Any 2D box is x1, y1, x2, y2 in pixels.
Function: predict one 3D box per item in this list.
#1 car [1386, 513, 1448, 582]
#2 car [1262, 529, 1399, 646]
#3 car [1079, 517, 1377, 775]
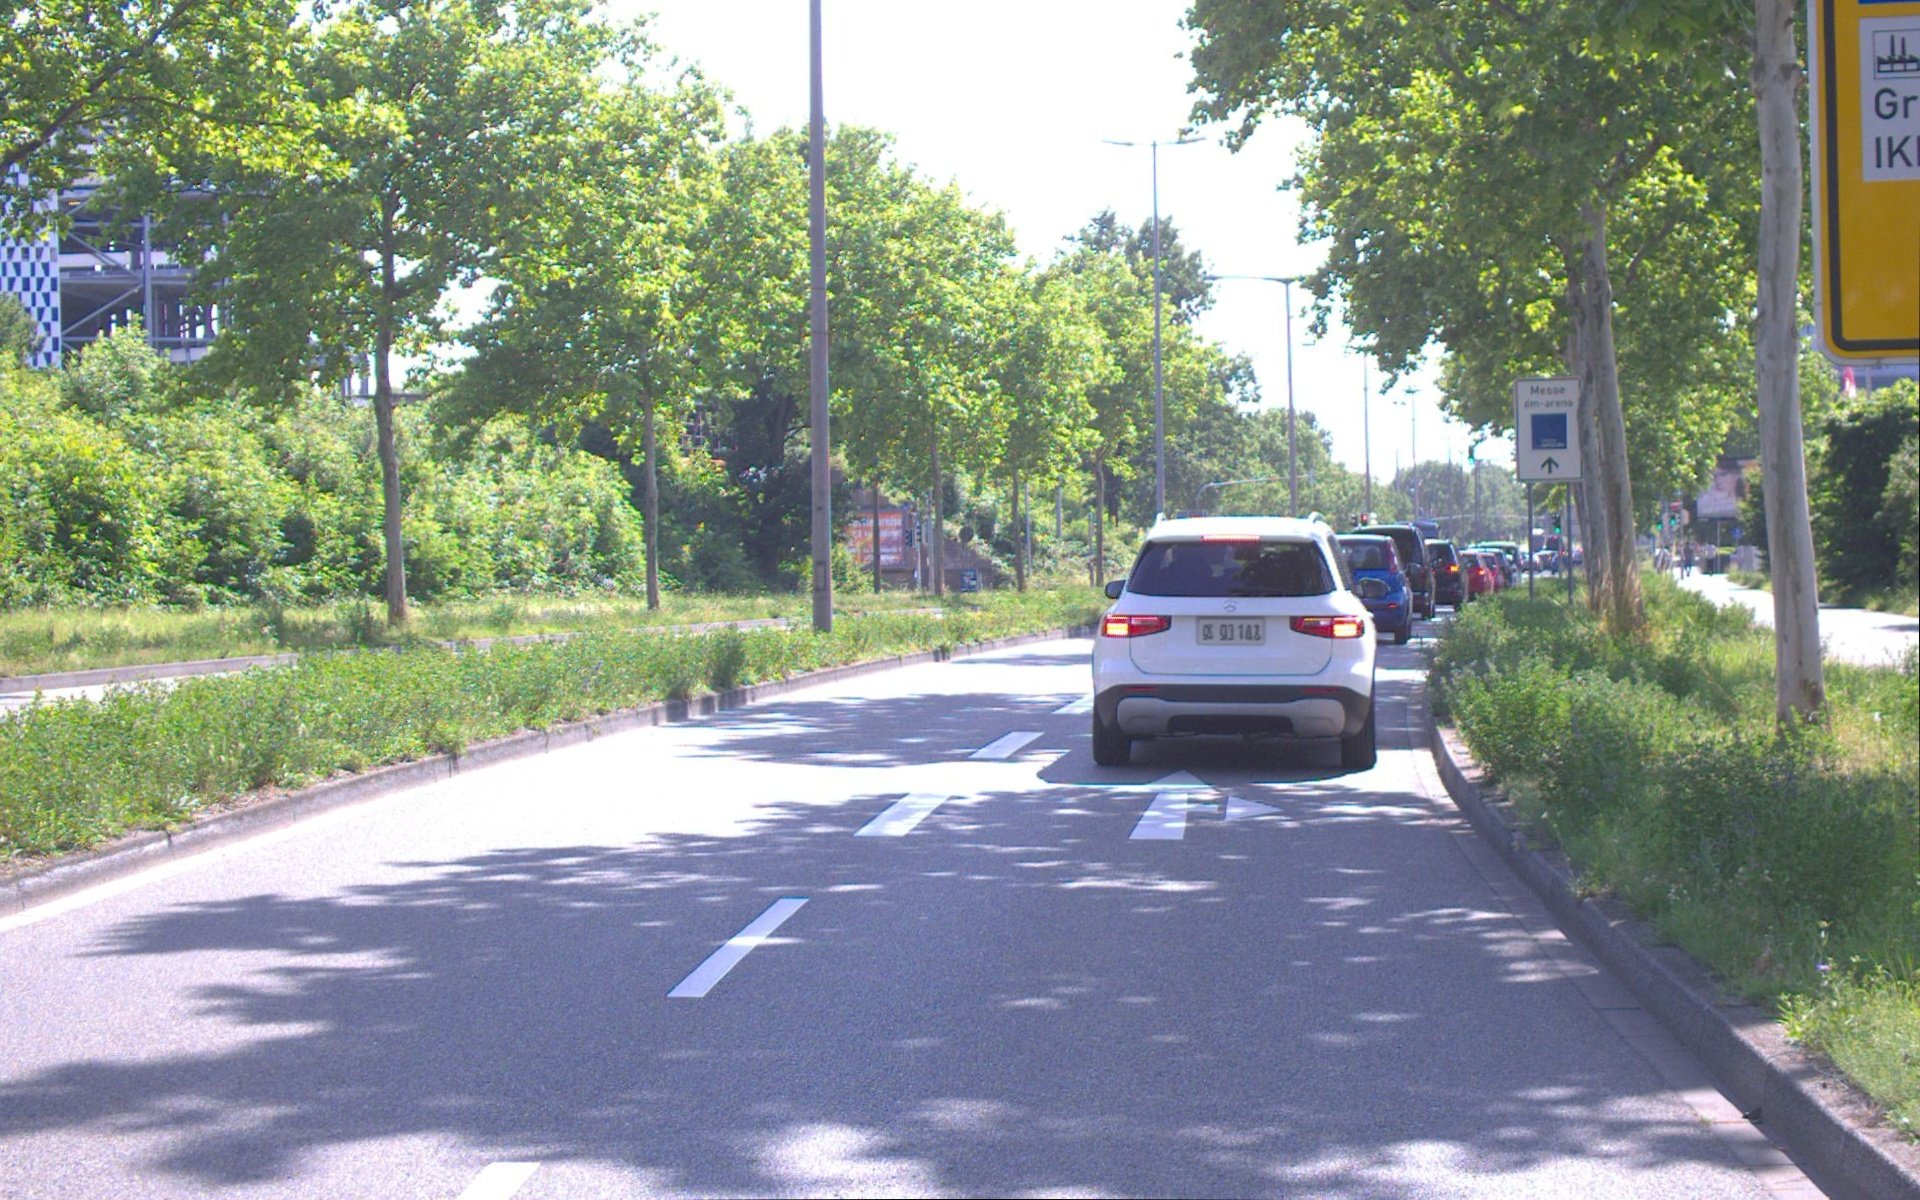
[{"bbox_3d":[17.950,-2.050,134.817,2.082,2.647,4.872,1,0,11],"label":"car"},{"bbox_3d":[5.319,-0.188,49.165,1.854,1.602,3.999,0,1,7],"label":"car"},{"bbox_3d":[1.907,0.264,23.462,1.854,1.602,3.999,0,1,7],"label":"car"}]
